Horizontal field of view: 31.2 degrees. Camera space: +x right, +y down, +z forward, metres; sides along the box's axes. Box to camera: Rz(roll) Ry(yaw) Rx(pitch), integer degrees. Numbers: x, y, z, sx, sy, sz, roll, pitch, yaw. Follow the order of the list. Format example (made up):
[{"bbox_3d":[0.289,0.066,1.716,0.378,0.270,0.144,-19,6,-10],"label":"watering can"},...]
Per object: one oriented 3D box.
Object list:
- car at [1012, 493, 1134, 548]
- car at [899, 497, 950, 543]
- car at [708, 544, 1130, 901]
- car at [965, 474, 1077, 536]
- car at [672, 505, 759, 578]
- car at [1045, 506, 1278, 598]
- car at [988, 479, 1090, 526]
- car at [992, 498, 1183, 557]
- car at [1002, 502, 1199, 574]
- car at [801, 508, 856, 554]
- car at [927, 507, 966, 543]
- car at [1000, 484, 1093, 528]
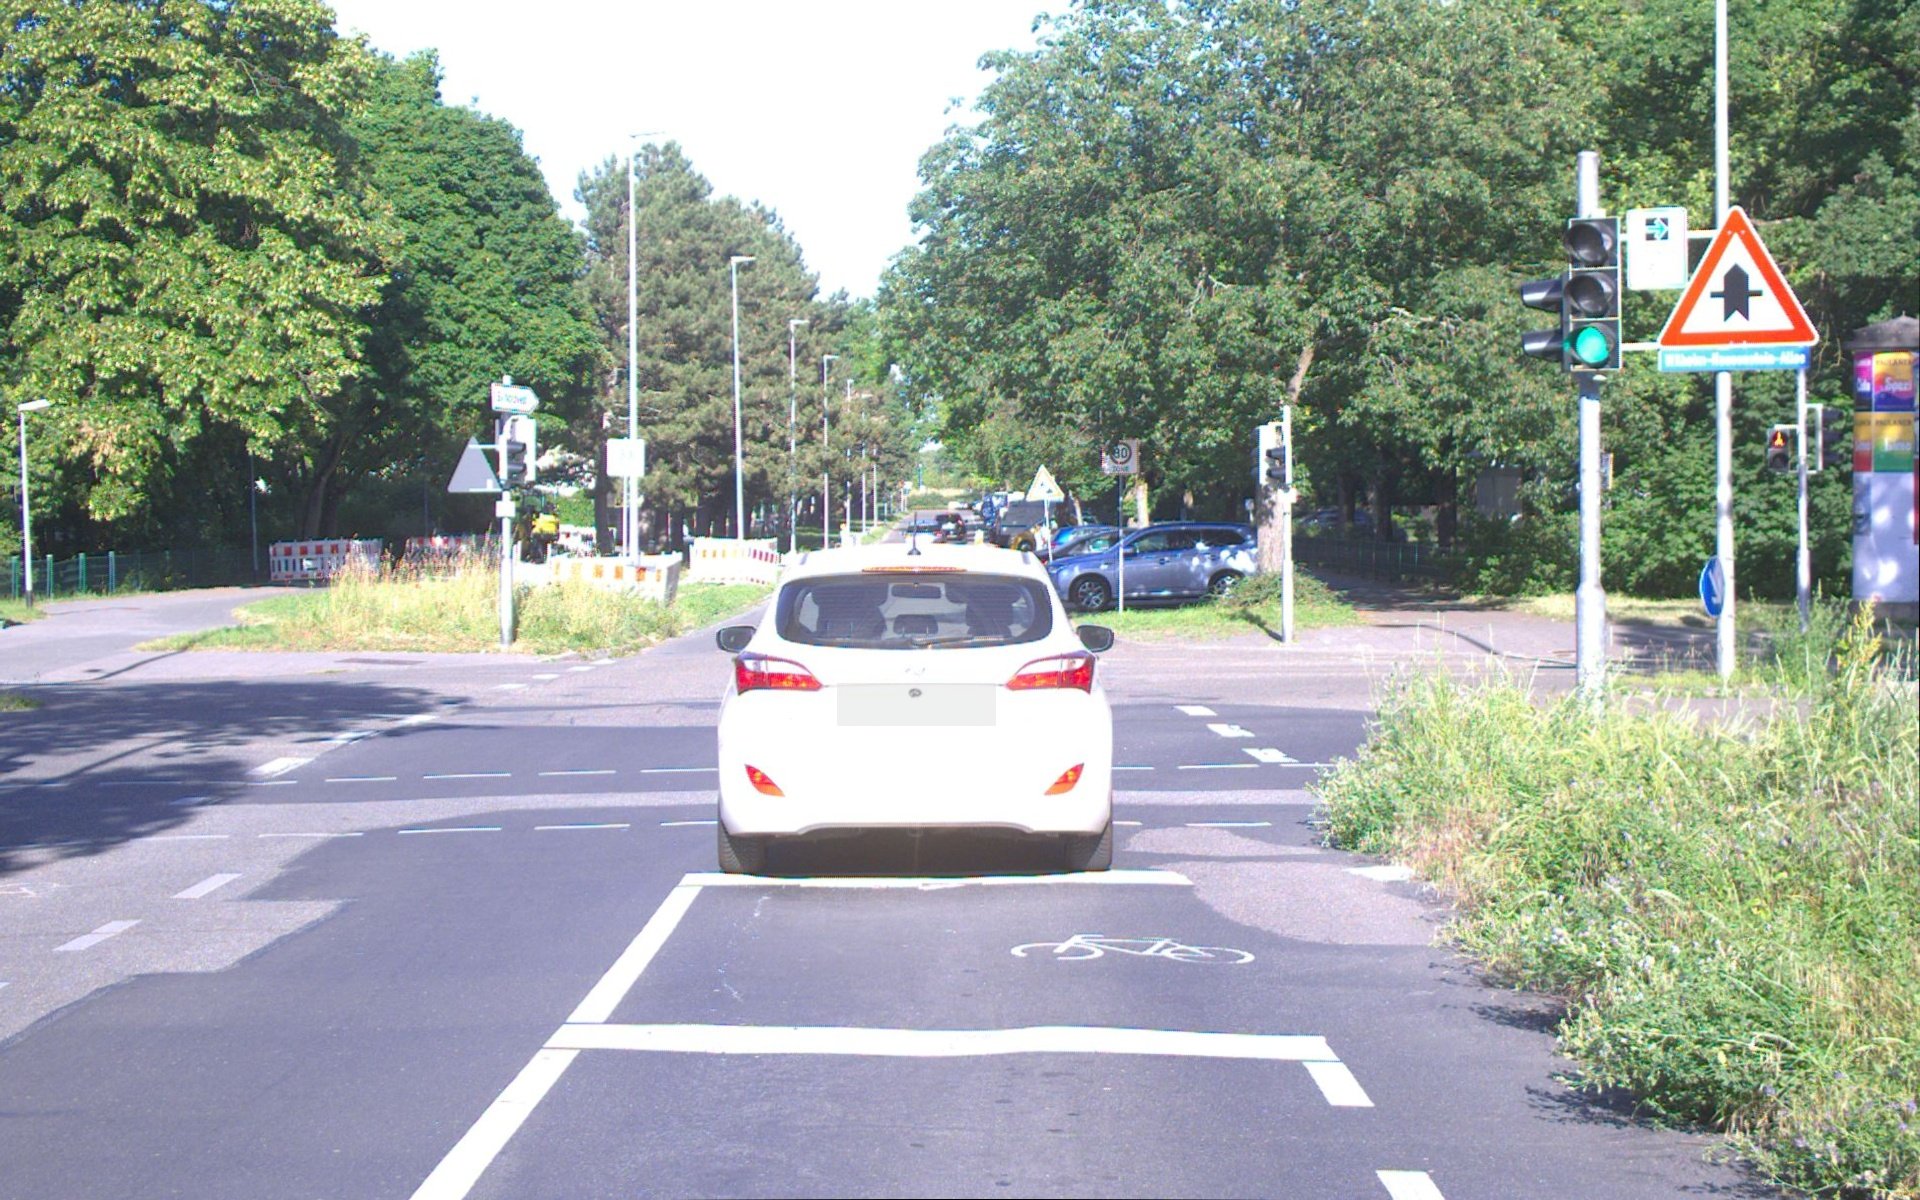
[{"bbox_3d":[3.576,-2.540,109.448,3.819,1.678,1.863,1,1,0],"label":"car"},{"bbox_3d":[-1.462,-3.312,141.956,1.993,1.809,4.000,2,1,0],"label":"car"},{"bbox_3d":[-0.248,0.490,16.588,1.789,1.458,3.964,0,2,-2],"label":"car"},{"bbox_3d":[2.119,-3.294,119.485,3.819,2.091,1.863,1,1,0],"label":"car"},{"bbox_3d":[-6.490,-1.571,91.490,1.993,1.809,4.001,1,2,0],"label":"car"},{"bbox_3d":[3.950,-0.957,67.499,4.499,1.776,1.855,0,2,3],"label":"car"},{"bbox_3d":[3.355,-4.154,146.785,4.302,1.901,1.863,1,1,0],"label":"car"},{"bbox_3d":[3.796,-2.171,102.878,5.614,1.678,1.948,1,1,0],"label":"car"},{"bbox_3d":[3.249,-1.449,79.569,4.499,1.624,1.855,0,2,3],"label":"car"},{"bbox_3d":[-5.200,-2.758,136.527,1.993,1.809,4.000,0,1,0],"label":"car"},{"bbox_3d":[-0.722,-3.950,181.375,1.993,1.809,4.000,1,1,0],"label":"car"},{"bbox_3d":[3.583,-3.914,143.639,3.819,1.761,1.863,1,1,0],"label":"car"}]
